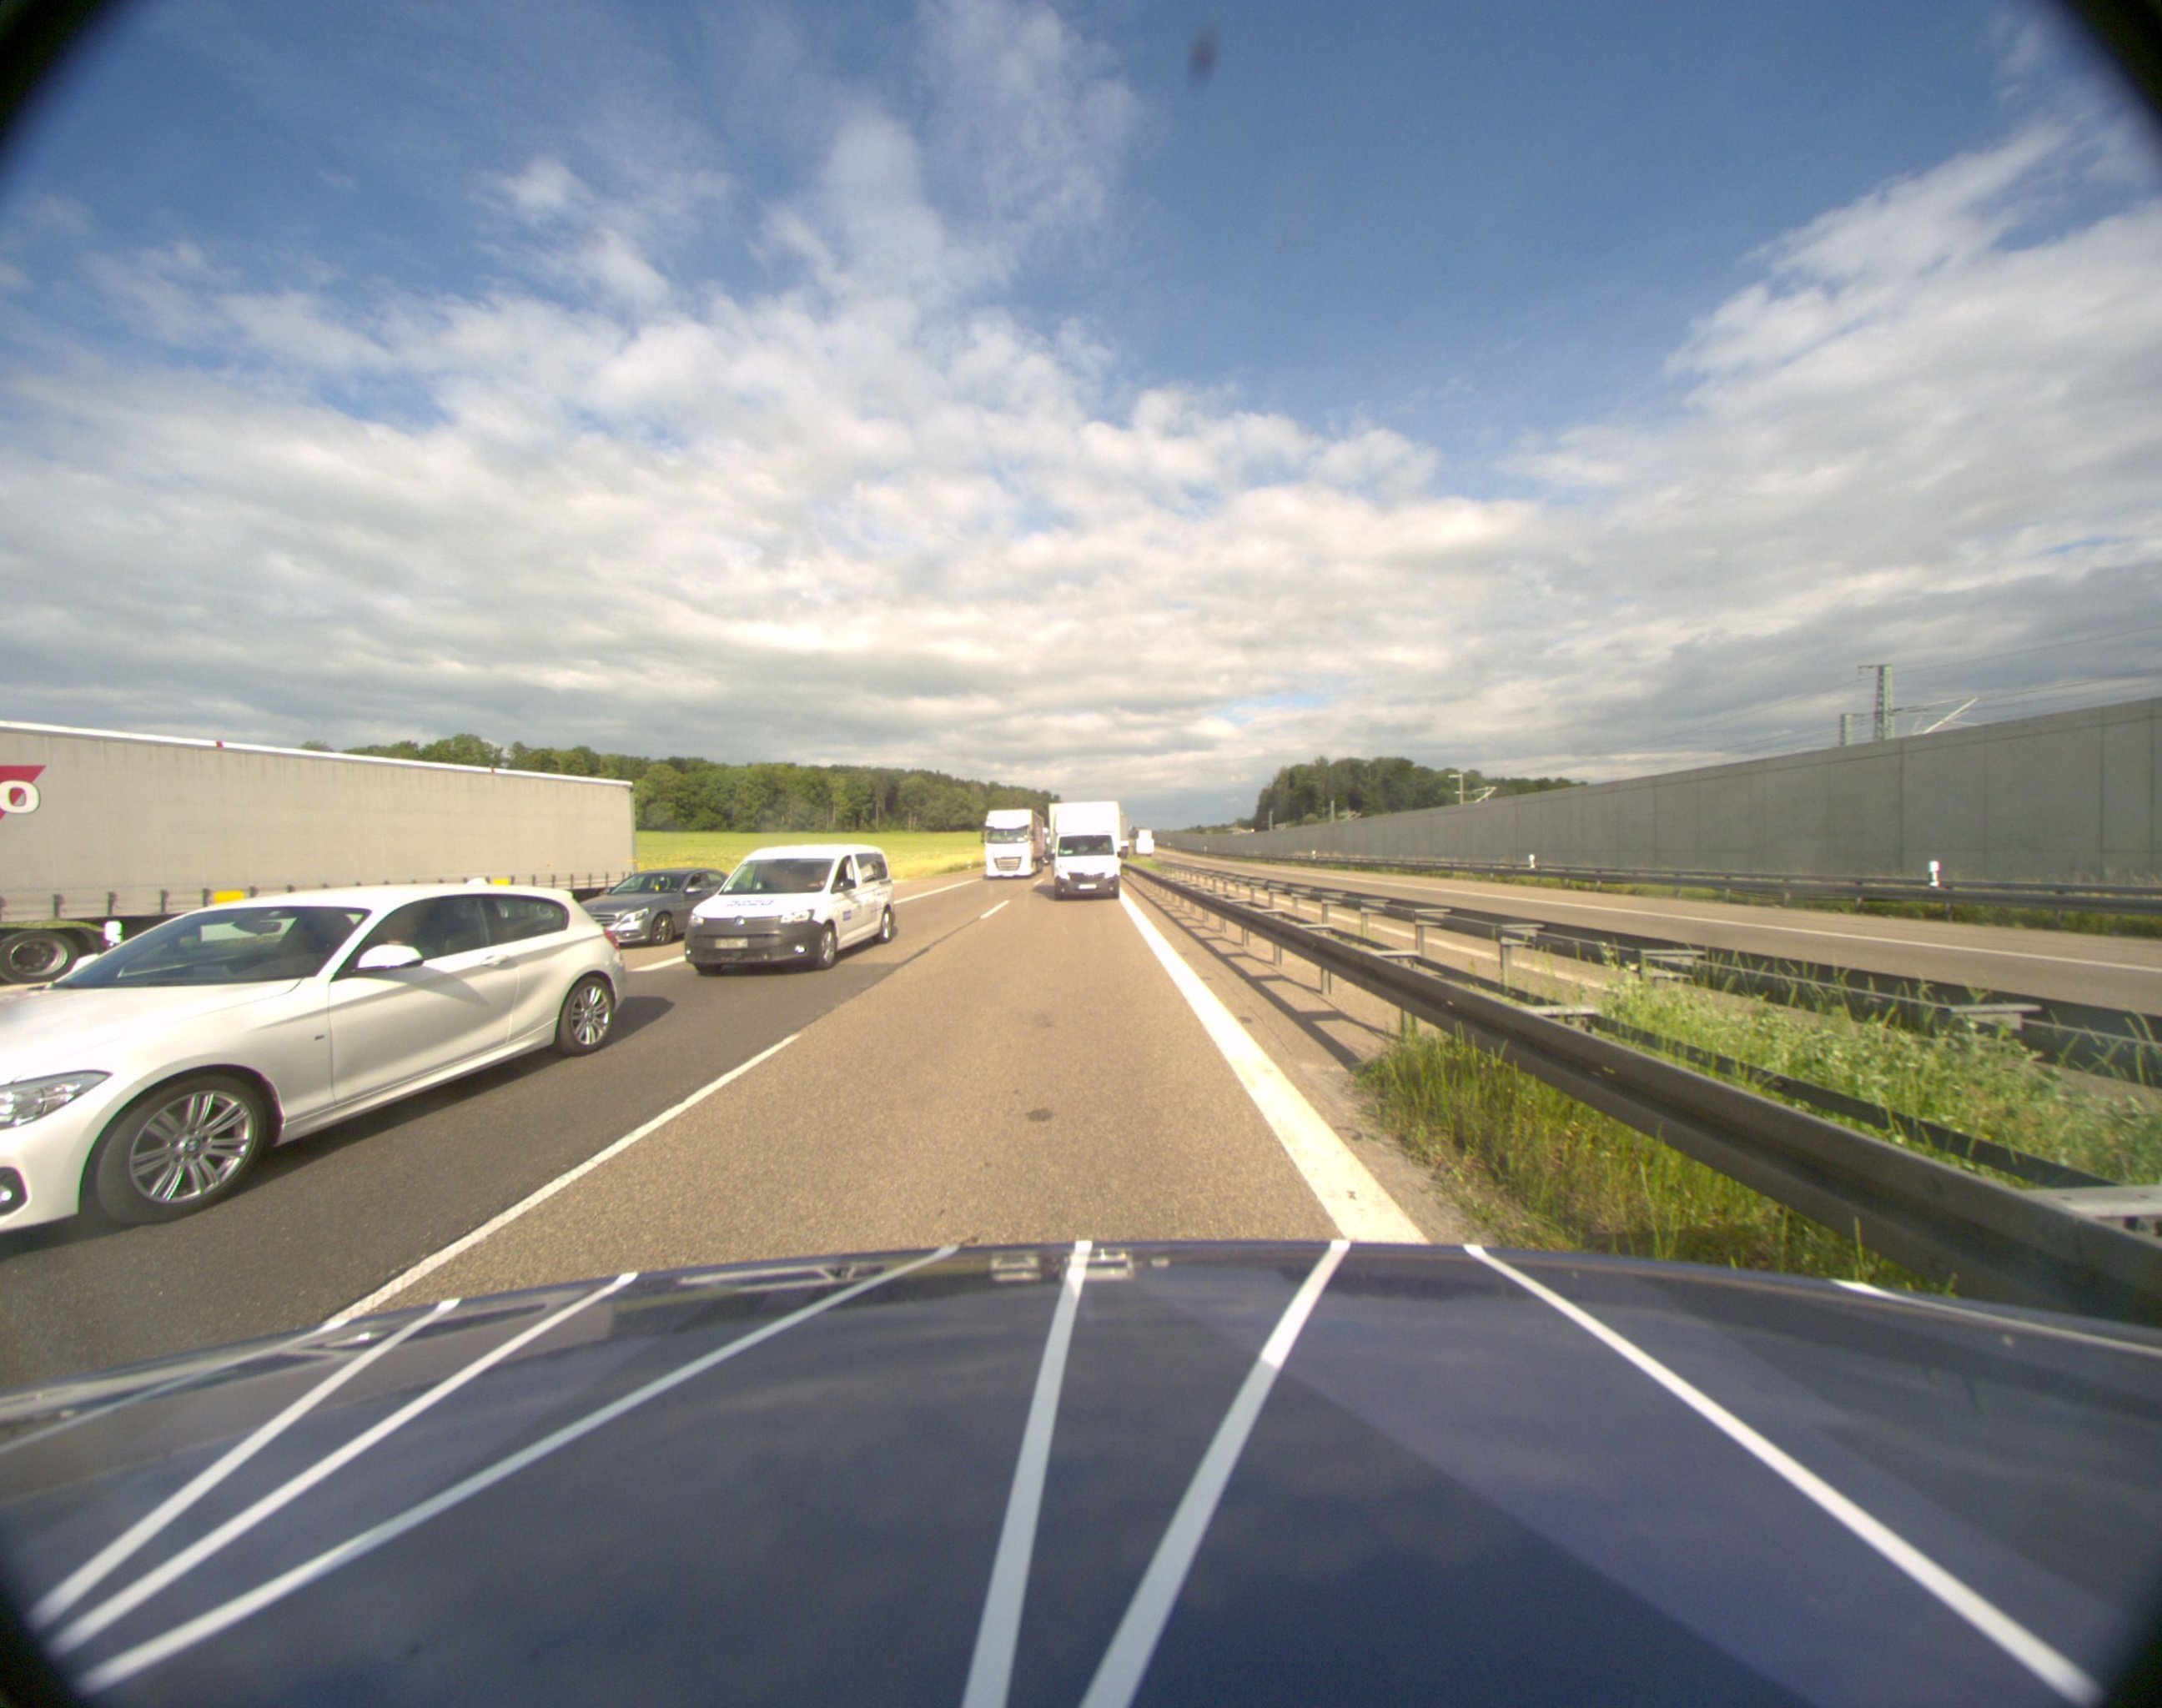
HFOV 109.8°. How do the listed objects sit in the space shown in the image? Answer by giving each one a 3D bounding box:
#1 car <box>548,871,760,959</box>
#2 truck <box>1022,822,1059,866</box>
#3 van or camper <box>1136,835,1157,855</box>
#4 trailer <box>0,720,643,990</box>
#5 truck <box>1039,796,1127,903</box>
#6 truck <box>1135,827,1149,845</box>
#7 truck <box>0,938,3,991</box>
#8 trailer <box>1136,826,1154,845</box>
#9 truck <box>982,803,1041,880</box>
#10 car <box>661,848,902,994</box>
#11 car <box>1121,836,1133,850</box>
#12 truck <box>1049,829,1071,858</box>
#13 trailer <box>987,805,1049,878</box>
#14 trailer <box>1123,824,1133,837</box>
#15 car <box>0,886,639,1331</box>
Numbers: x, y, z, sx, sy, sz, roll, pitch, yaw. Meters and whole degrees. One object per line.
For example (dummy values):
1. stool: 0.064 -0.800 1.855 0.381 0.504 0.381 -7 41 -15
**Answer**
1. car: -8.394 1.117 15.445 1.707 1.345 4.184 -3 1 3
2. truck: -3.940 -0.977 76.875 2.946 4.094 12.523 -1 1 0
3. van or camper: 9.144 -1.224 106.943 2.258 2.688 7.169 -1 0 0
4. trailer: -16.530 -0.012 16.697 2.739 4.136 13.843 -2 0 15
5. truck: 0.091 -0.169 28.587 2.500 3.082 12.037 -2 0 0
6. truck: 14.266 -4.082 177.343 2.783 4.064 5.531 0 1 0
7. truck: -18.482 0.087 9.633 2.717 4.149 4.765 -2 1 15
8. trailer: 14.221 -3.998 170.232 2.797 4.054 13.518 0 1 0
9. truck: -4.005 -0.762 44.969 2.736 4.150 5.766 -2 1 0
10. car: -4.278 0.814 11.805 1.729 1.746 4.702 -3 1 1
11. car: 9.909 -2.287 163.714 2.109 2.854 5.635 -1 1 0
12. truck: -3.152 -1.605 120.173 2.946 4.094 16.207 -1 1 0
13. trailer: -3.979 -0.883 51.283 2.742 4.137 14.016 -2 1 0
14. trailer: 16.392 -8.130 263.898 2.690 4.014 13.790 -1 0 0
15. car: -4.809 1.045 4.601 1.708 1.424 4.232 -2 1 1
